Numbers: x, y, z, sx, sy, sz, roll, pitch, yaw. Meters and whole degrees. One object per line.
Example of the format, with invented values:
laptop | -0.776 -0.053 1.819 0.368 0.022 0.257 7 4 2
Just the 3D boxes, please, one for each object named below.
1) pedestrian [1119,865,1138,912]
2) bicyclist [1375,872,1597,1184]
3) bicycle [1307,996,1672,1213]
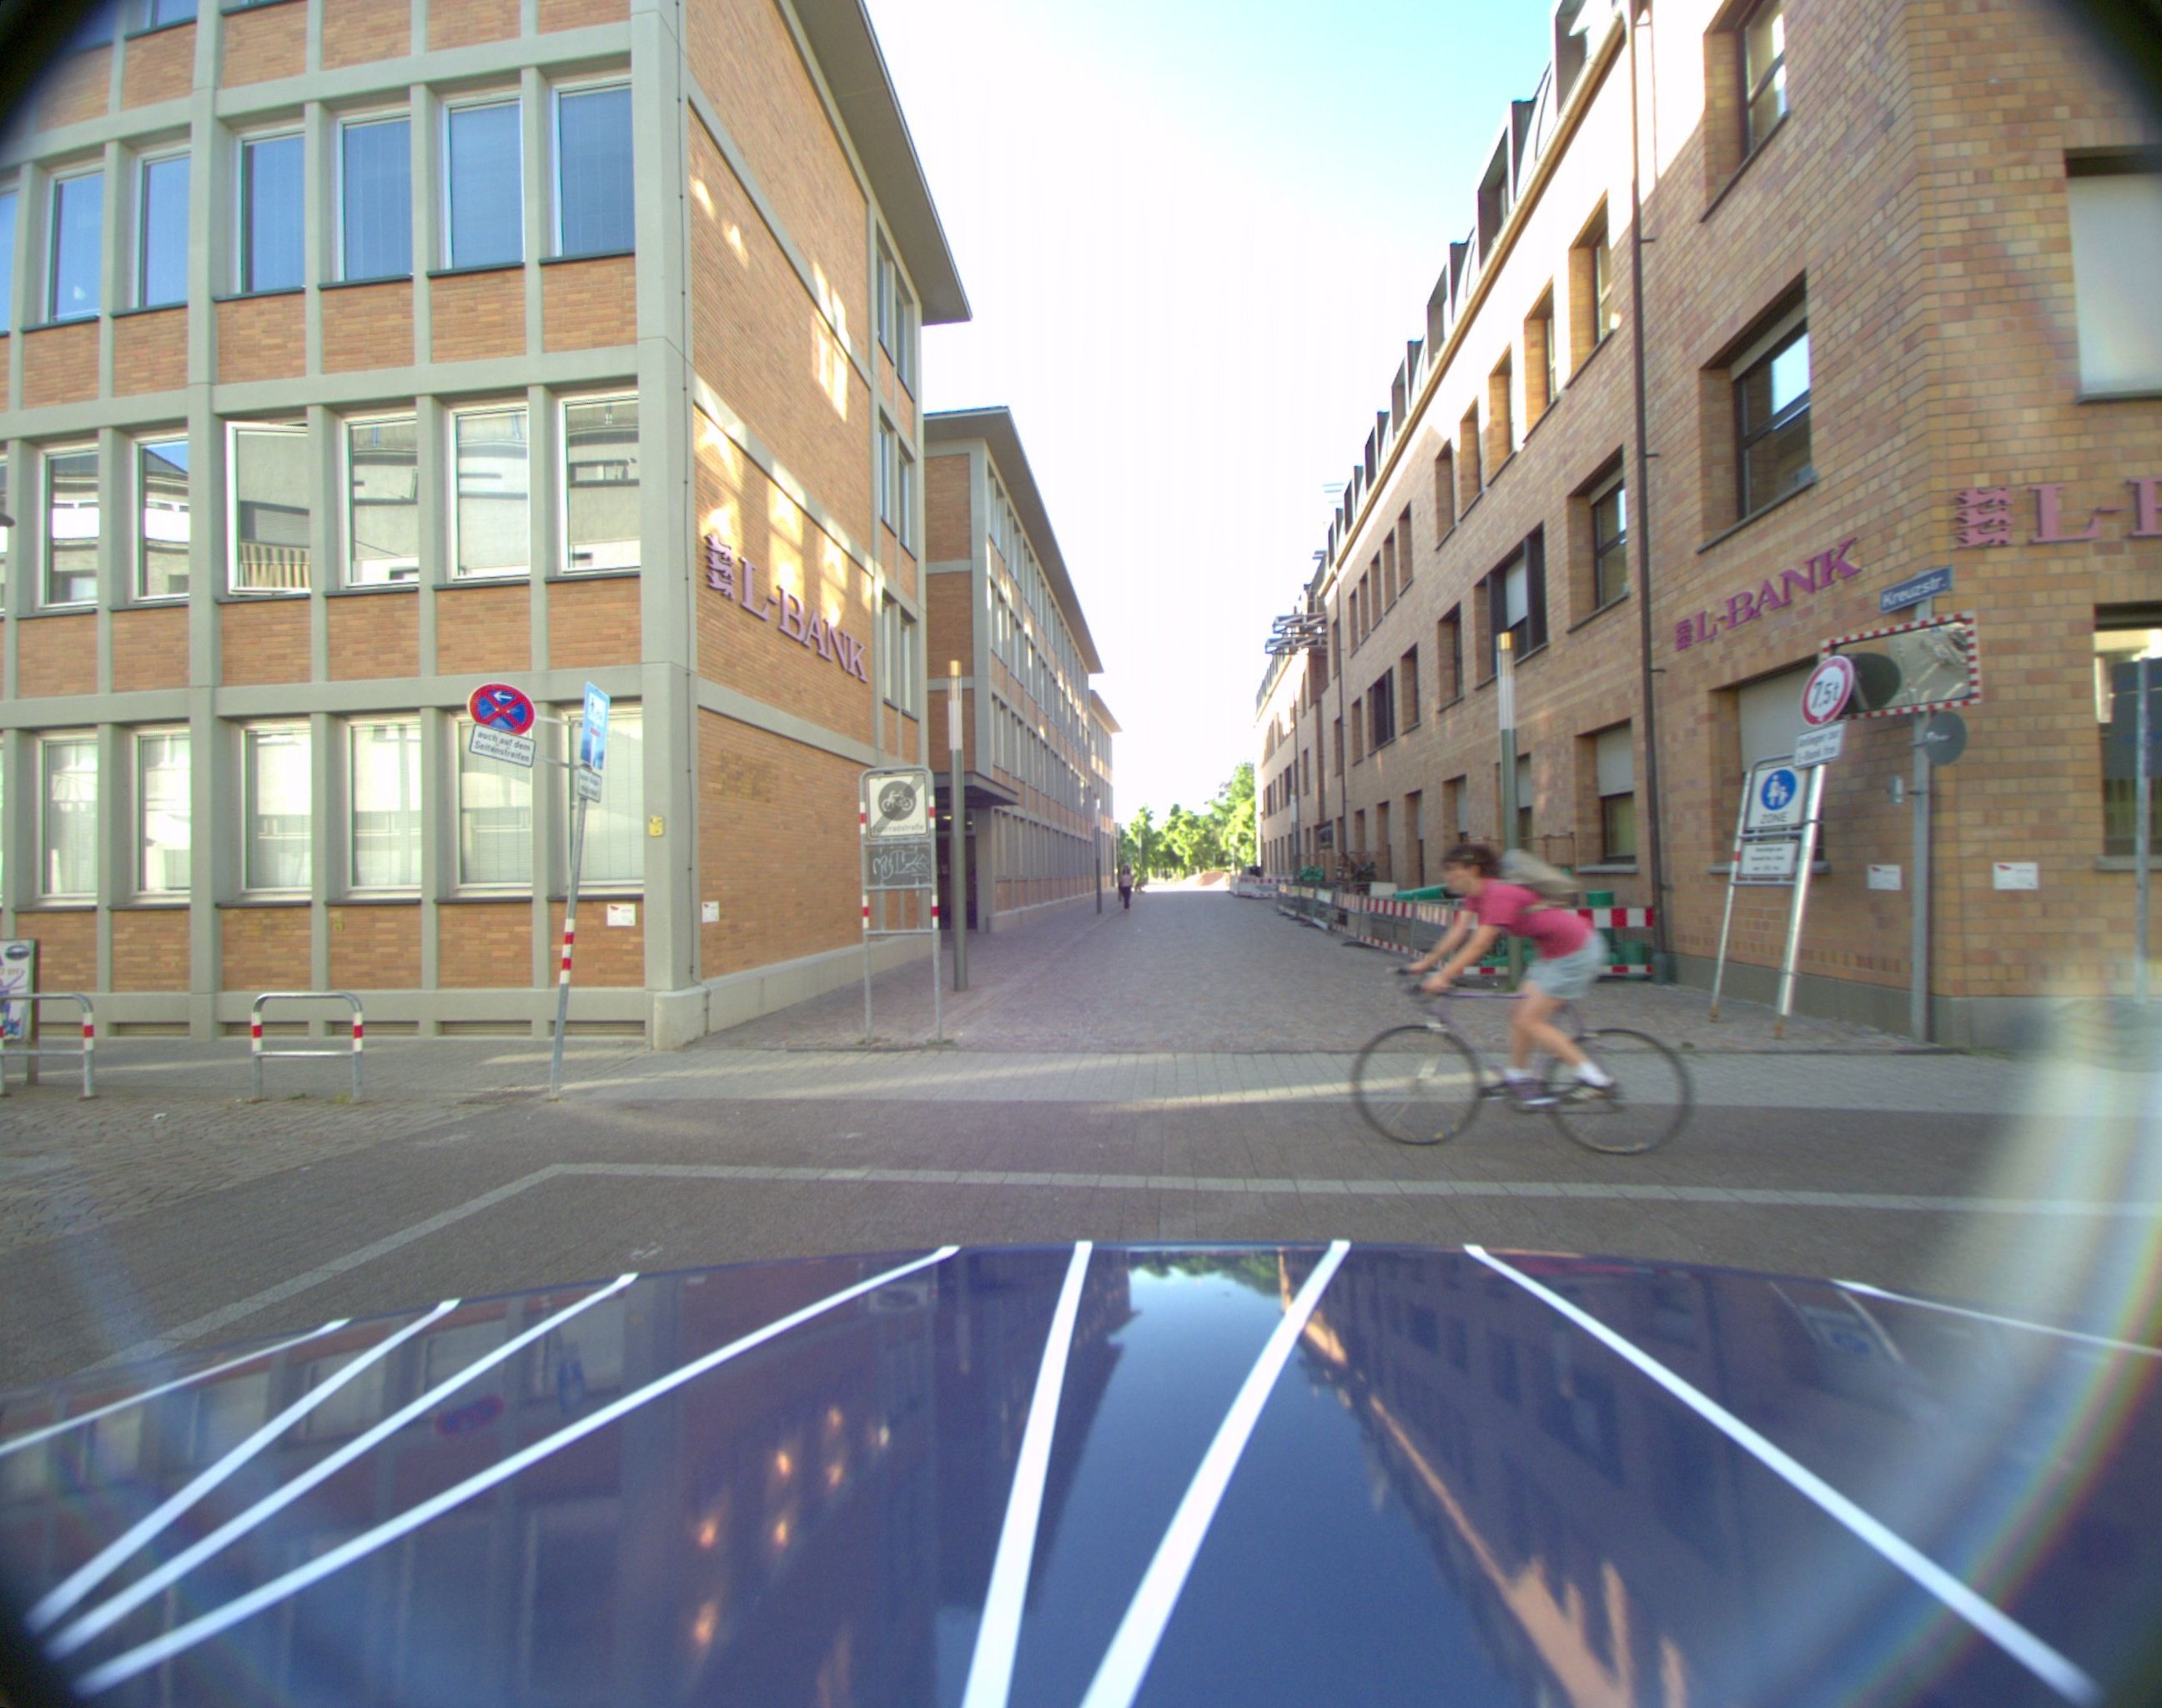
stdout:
pedestrian | 1.812 1.327 29.010 0.638 1.774 0.653 -1 -3 7
bicyclist | 2.046 0.847 3.919 0.874 1.488 0.429 -1 -2 7
bicycle | 2.030 1.249 3.914 1.589 0.951 0.436 -1 0 7
